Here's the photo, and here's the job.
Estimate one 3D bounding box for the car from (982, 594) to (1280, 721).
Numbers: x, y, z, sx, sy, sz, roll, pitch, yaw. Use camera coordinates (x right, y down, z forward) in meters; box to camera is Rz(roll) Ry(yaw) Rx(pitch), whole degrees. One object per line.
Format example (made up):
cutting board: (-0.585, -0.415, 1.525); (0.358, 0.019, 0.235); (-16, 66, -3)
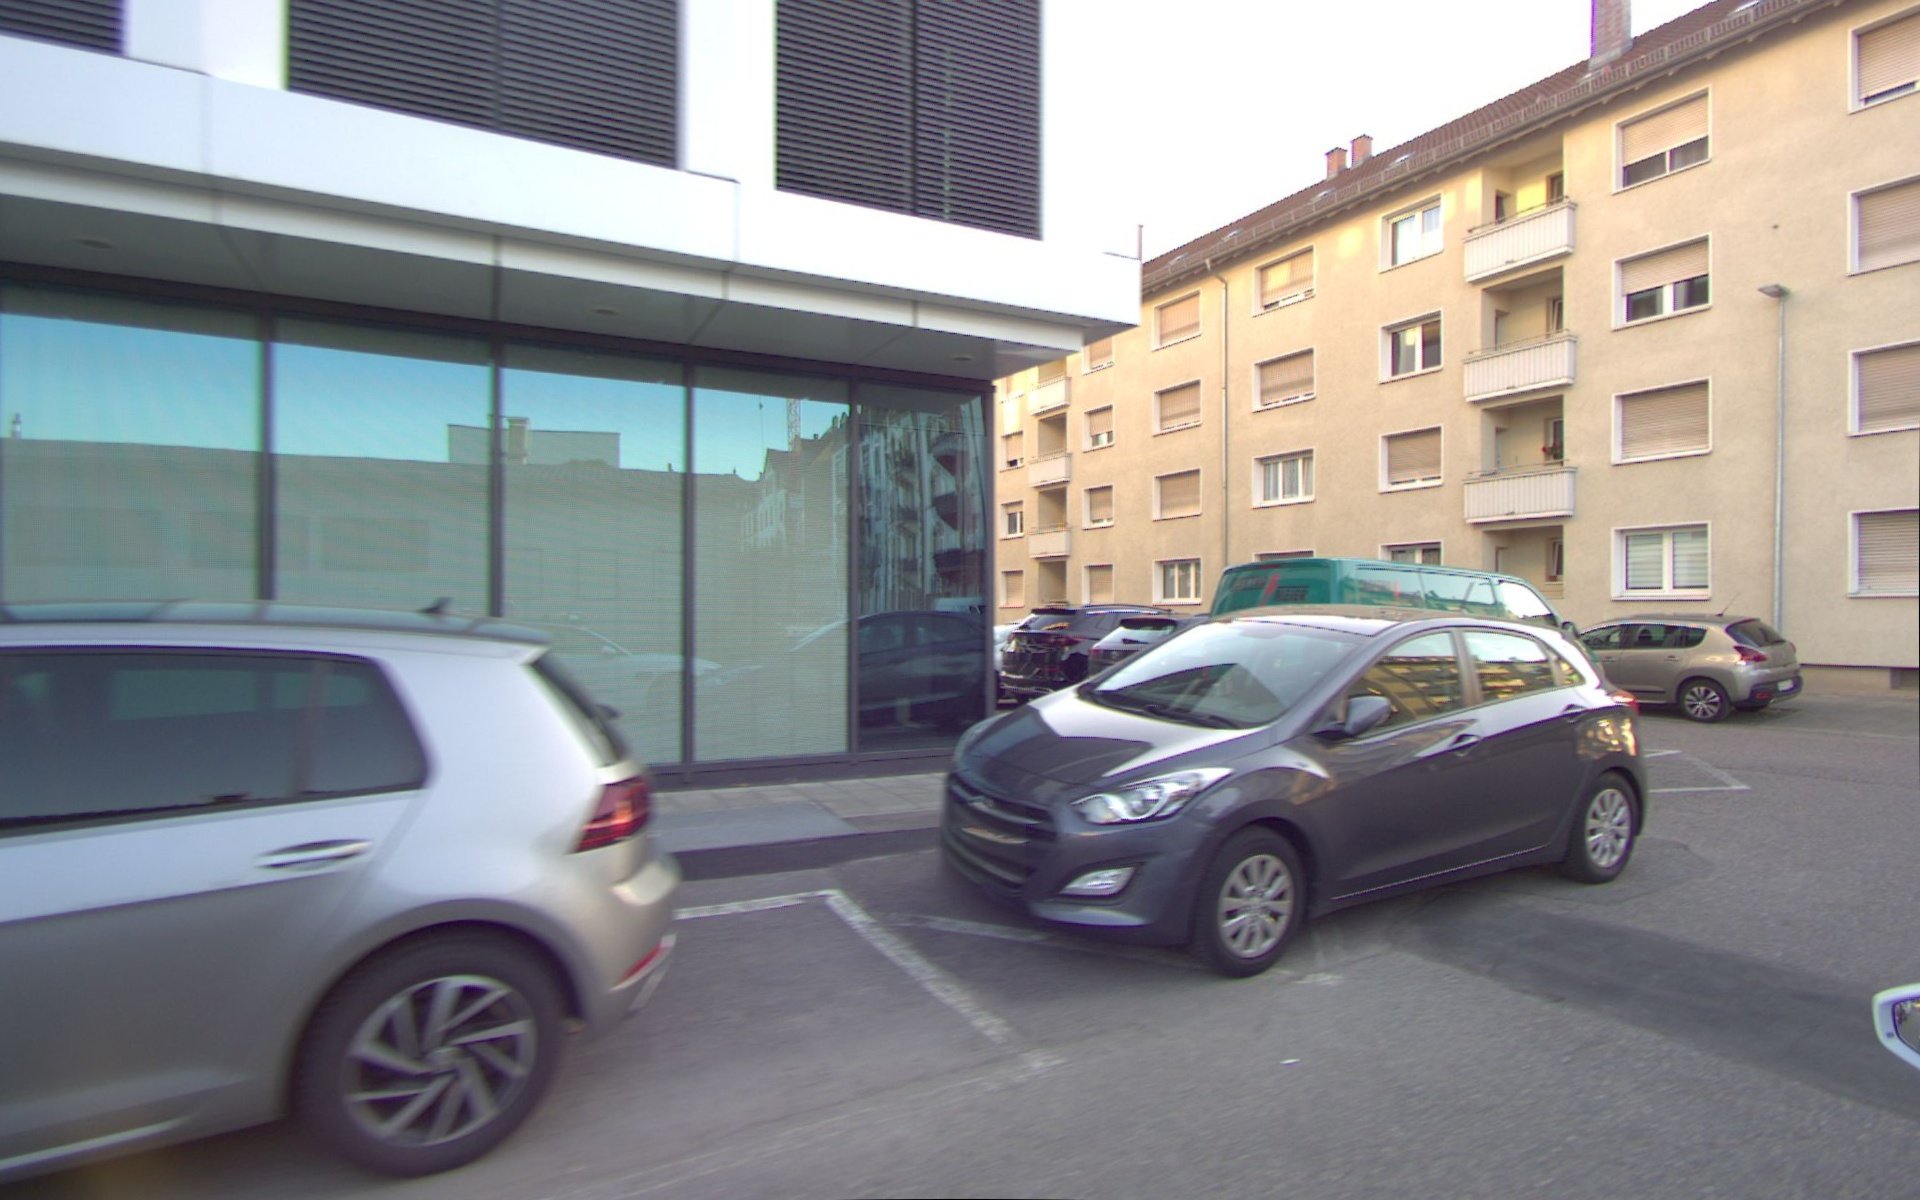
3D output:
car: (2.613, 0.858, 15.055); (4.280, 1.681, 1.721); (3, -2, -30)

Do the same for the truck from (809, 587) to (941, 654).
truck: (-4.156, 0.951, 49.413); (5.931, 2.759, 2.319); (-4, 2, -31)

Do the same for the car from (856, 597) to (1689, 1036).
car: (1.771, 0.770, 5.322); (4.279, 1.499, 1.771); (1, 1, -30)

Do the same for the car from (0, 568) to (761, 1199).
car: (-2.796, 0.684, 2.616); (4.138, 1.499, 1.700); (0, 3, -32)

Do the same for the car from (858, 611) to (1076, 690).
car: (0.174, 1.049, 20.535); (4.149, 1.475, 1.721); (3, -2, -30)

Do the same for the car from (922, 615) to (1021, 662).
car: (0.363, 1.366, 36.977); (1.859, 1.504, 3.916); (-4, 1, -30)

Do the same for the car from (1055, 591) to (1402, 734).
car: (3.490, 0.789, 12.867); (4.280, 1.570, 1.771); (3, -2, -30)

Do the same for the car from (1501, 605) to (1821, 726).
car: (11.592, 0.987, 16.894); (1.859, 1.639, 3.987); (-4, 1, -30)

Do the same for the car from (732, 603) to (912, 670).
car: (-3.657, 0.986, 26.811); (4.412, 1.633, 1.721); (3, -2, -30)

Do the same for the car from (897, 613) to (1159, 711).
car: (1.191, 1.042, 16.964); (4.149, 1.475, 1.721); (3, -2, -30)

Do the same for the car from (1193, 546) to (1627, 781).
car: (4.797, 0.608, 10.511); (4.634, 2.006, 1.789); (2, -1, -30)
